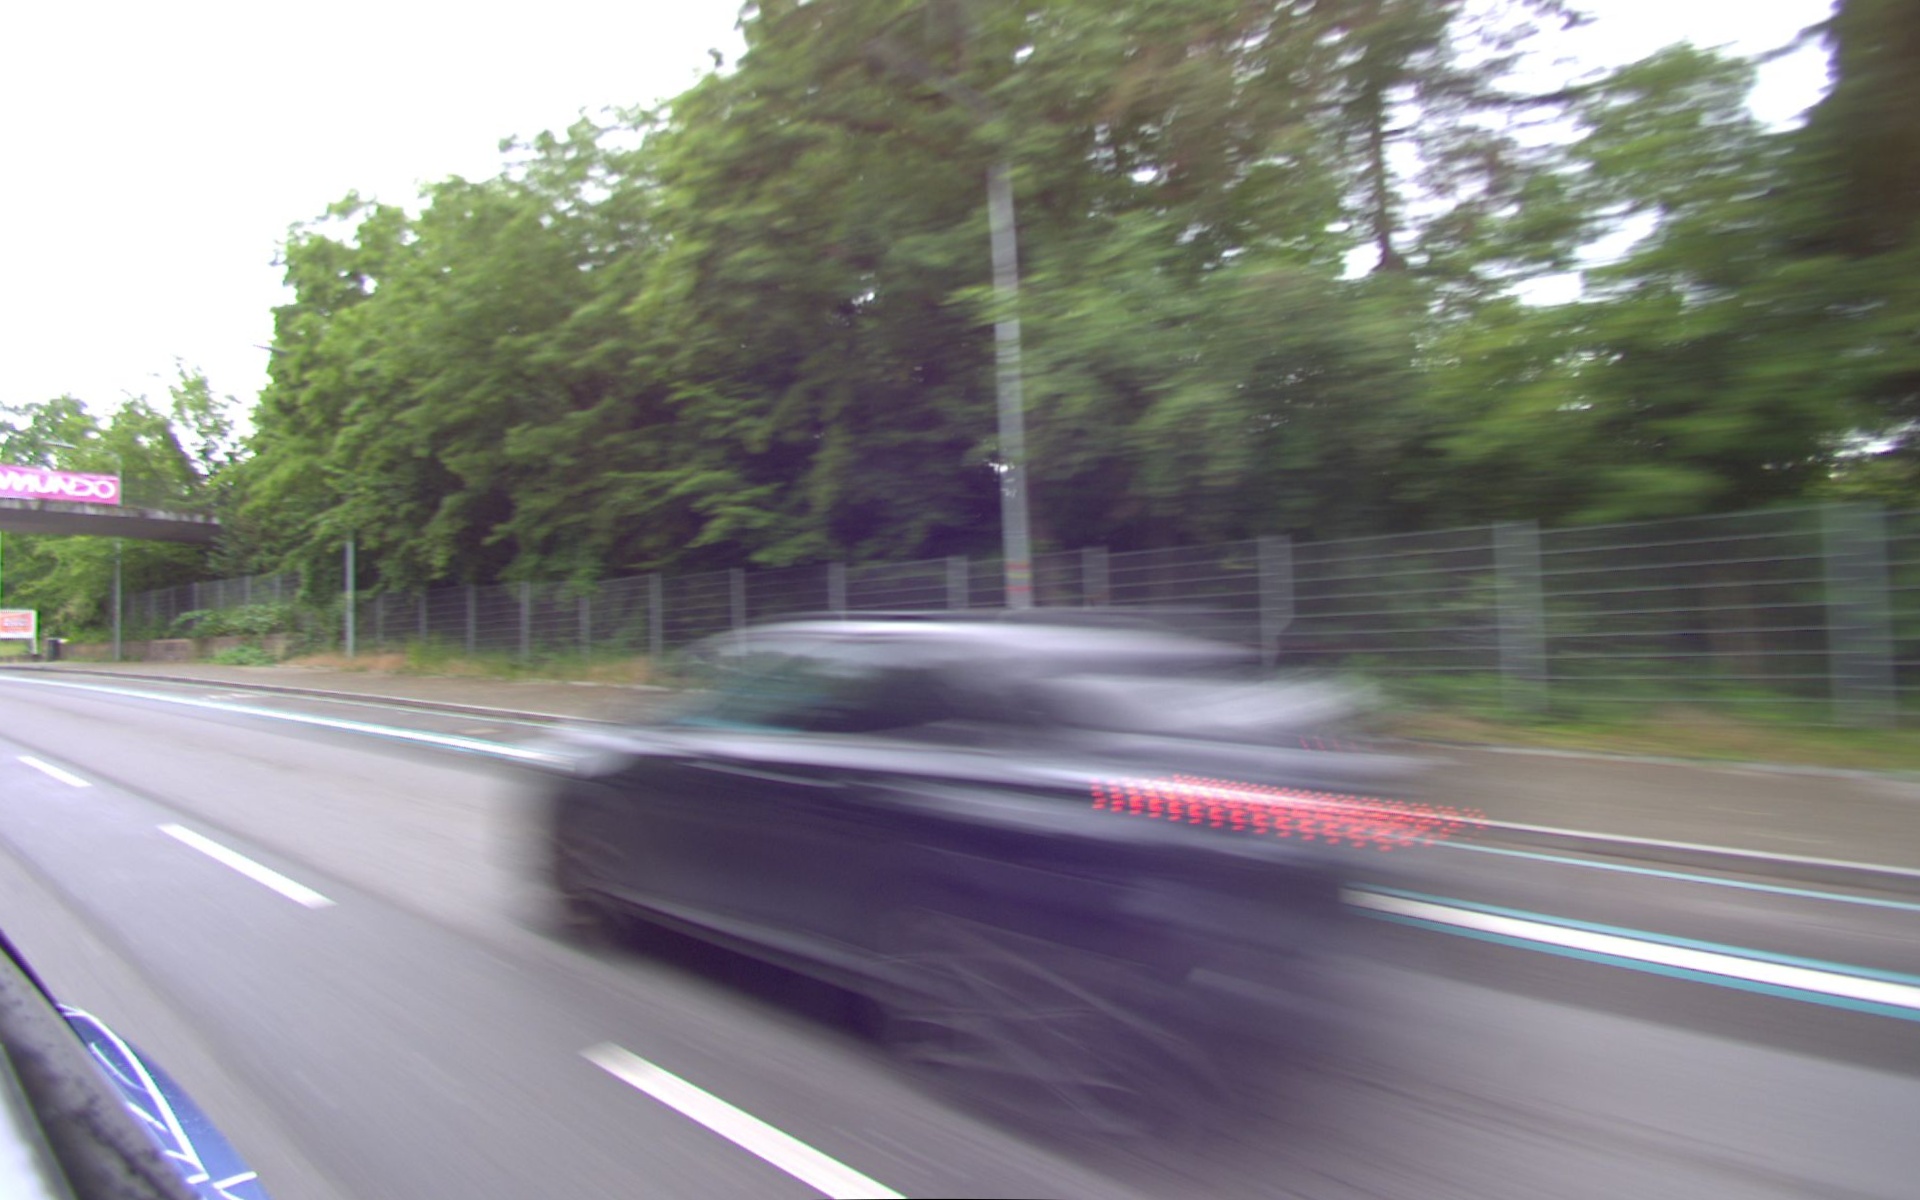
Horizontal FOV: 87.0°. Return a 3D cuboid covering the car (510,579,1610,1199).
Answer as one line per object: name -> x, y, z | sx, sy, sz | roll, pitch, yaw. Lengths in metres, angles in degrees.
car -> -0.013, 0.729, 4.040 | 4.150, 1.448, 1.741 | -2, -1, 42
